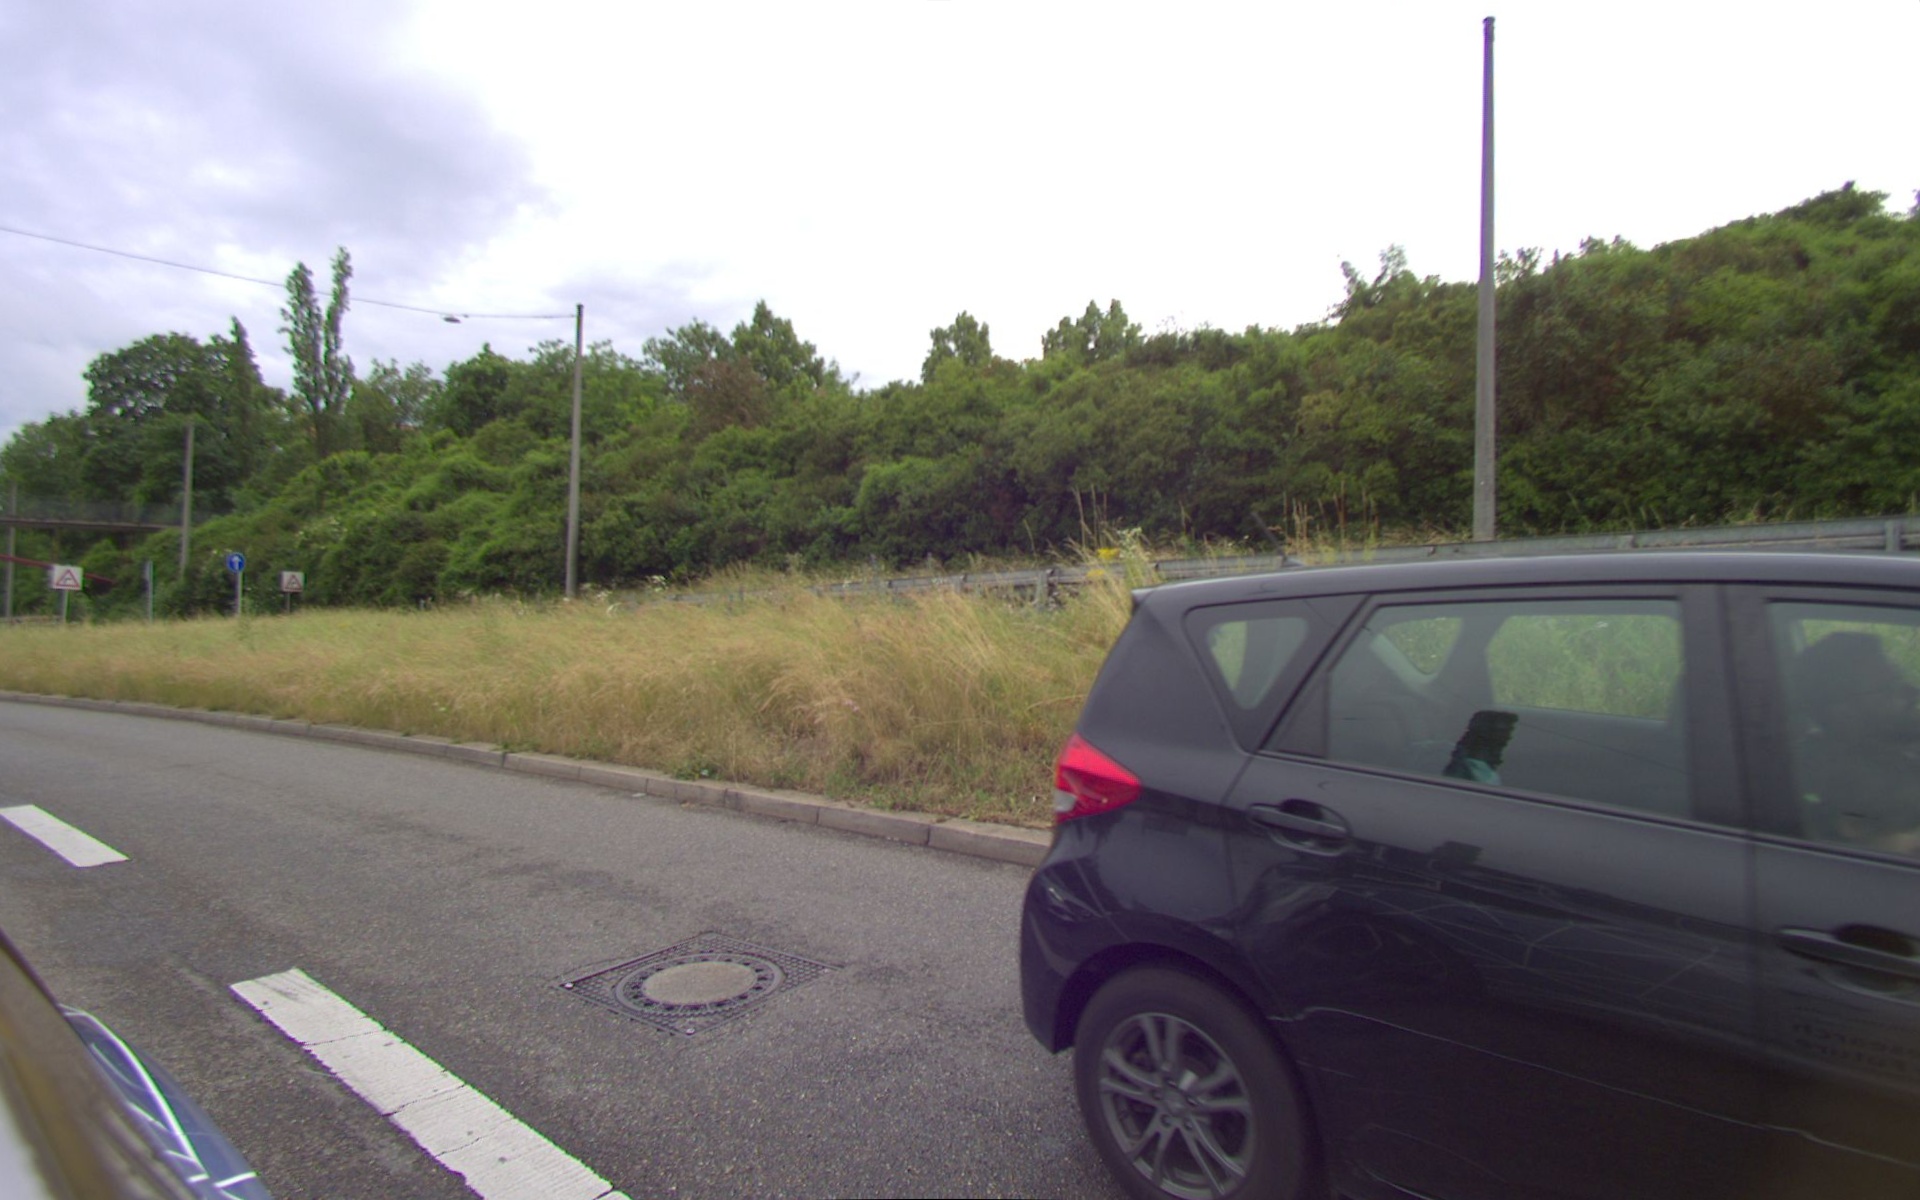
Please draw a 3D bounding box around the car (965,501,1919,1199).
[{"bbox_3d":[1.975,0.579,1.979,3.778,1.515,1.624,-2,1,42],"label":"car"}]
